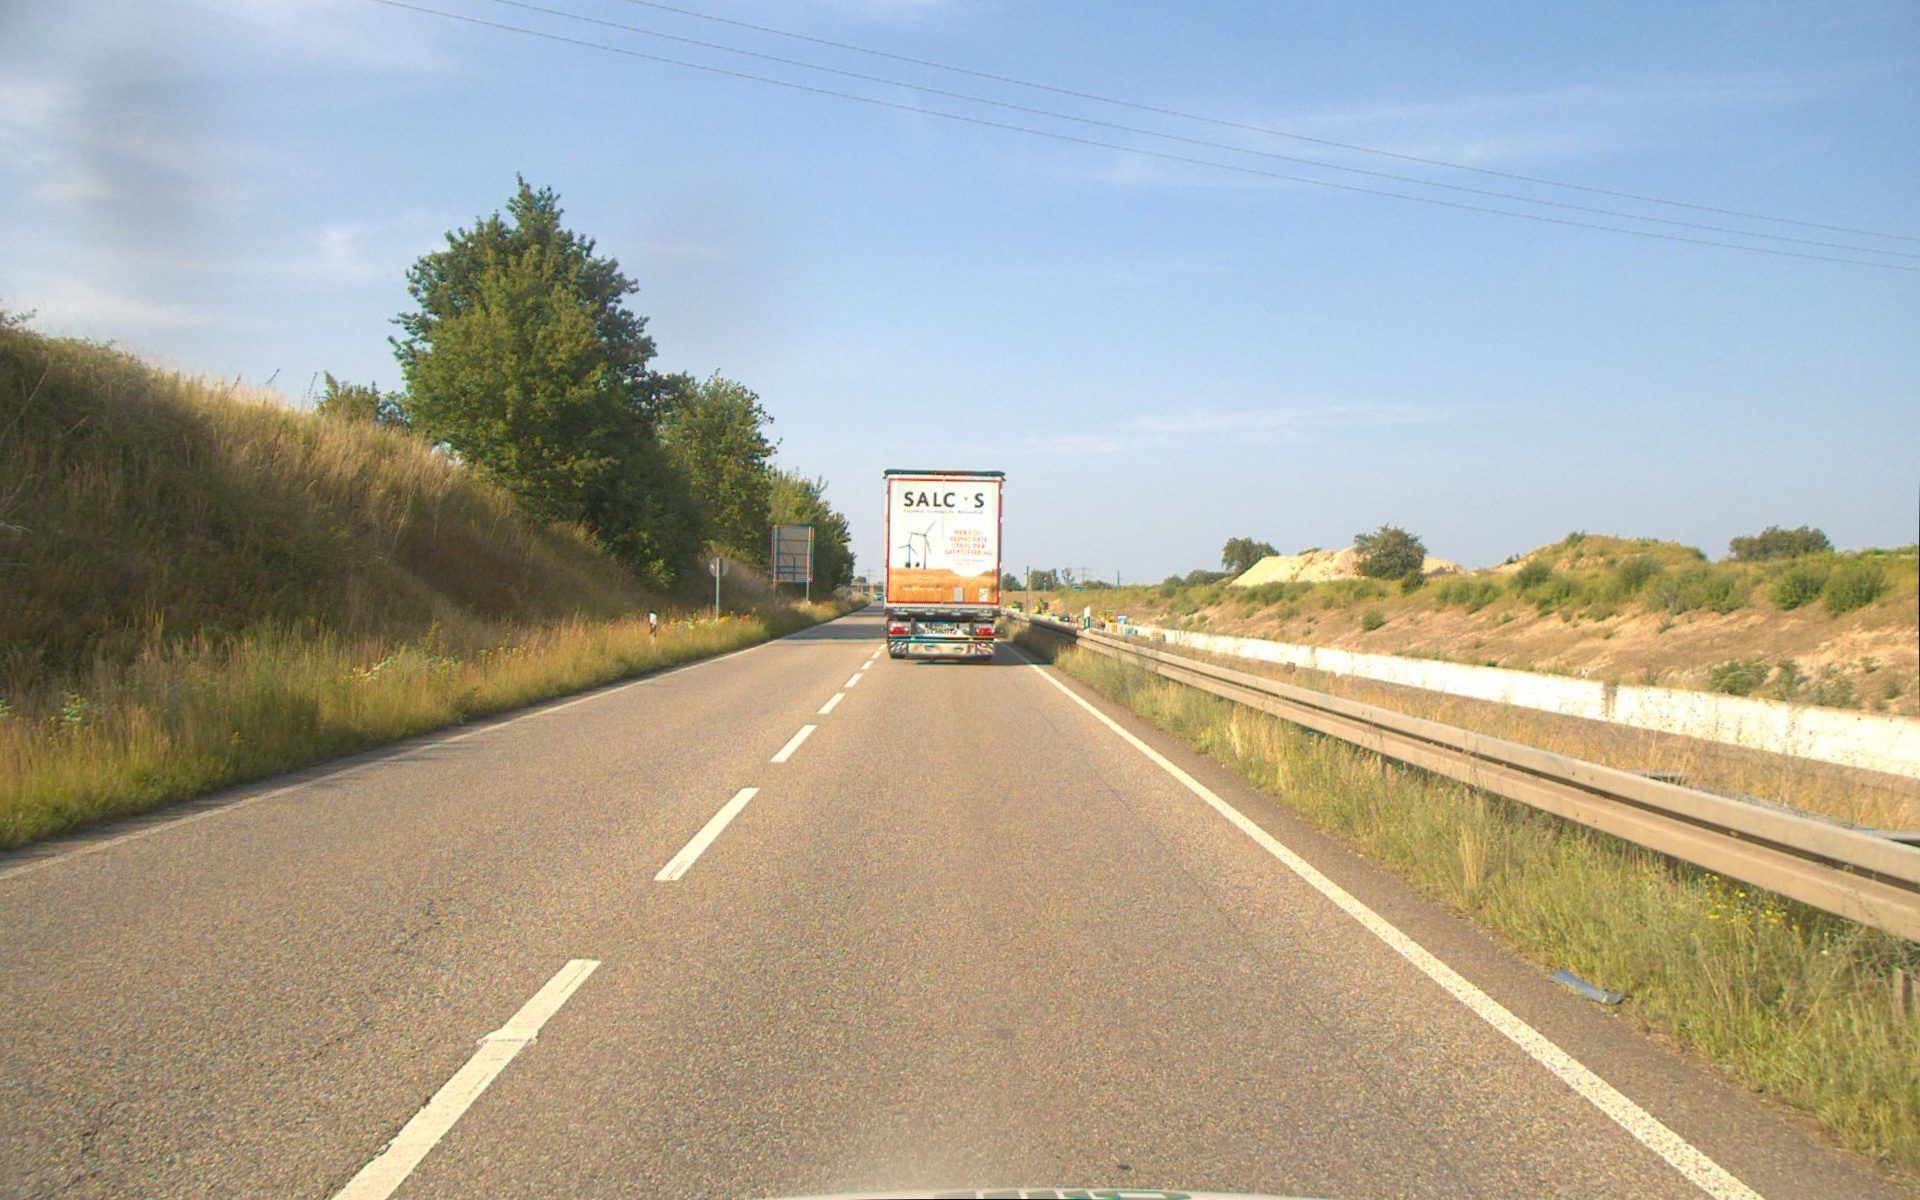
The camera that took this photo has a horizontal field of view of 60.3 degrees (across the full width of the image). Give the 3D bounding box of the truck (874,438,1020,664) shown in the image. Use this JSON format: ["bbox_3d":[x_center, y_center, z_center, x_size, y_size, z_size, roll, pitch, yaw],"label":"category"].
[{"bbox_3d":[-0.449,-1.053,39.365,3.090,4.770,8.437,0,0,-2],"label":"truck"}]
